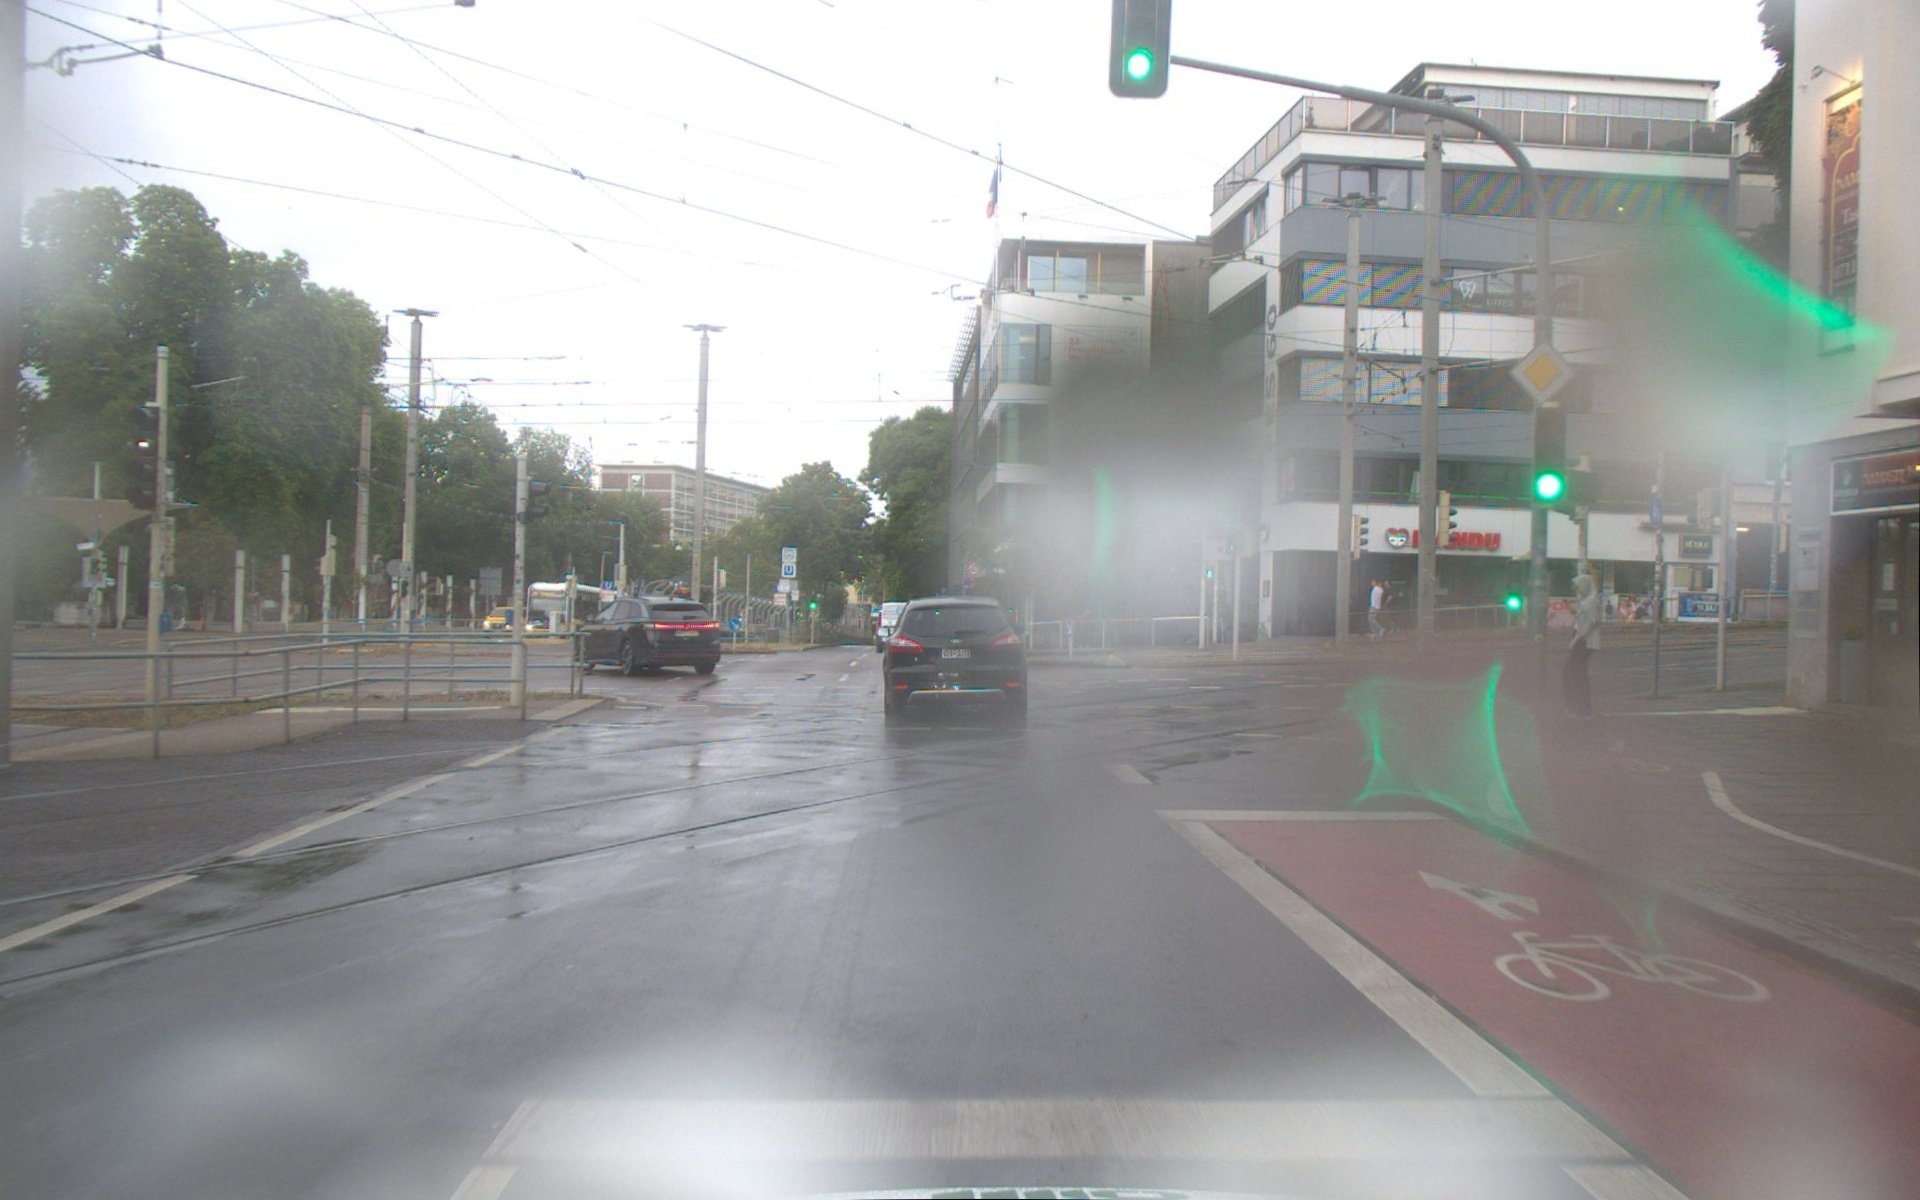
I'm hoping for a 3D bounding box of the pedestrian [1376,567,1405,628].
[{"bbox_3d":[13.908,-0.073,53.412,0.705,1.947,0.695,0,0,36],"label":"pedestrian"}]

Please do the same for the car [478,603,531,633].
[{"bbox_3d":[-26.799,1.027,97.471,1.953,1.674,4.535,0,0,-1],"label":"car"}]

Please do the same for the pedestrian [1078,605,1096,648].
[{"bbox_3d":[4.644,0.968,60.509,0.530,1.590,0.521,0,0,18],"label":"pedestrian"}]

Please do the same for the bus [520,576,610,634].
[{"bbox_3d":[-24.198,0.276,101.953,3.015,3.358,12.517,0,0,-2],"label":"bus"}]

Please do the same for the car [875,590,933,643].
[{"bbox_3d":[-2.055,0.596,62.063,1.994,1.872,4.392,1,0,0],"label":"car"}]

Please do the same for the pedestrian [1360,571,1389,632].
[{"bbox_3d":[13.240,0.047,52.851,0.705,1.947,0.695,0,0,36],"label":"pedestrian"}]

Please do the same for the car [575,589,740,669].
[{"bbox_3d":[-6.291,0.546,33.955,2.074,1.532,4.689,0,0,-28],"label":"car"}]

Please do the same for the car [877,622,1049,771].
[{"bbox_3d":[-0.036,1.165,21.599,1.995,1.612,4.390,1,0,-2],"label":"car"}]

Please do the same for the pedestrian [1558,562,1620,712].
[{"bbox_3d":[7.502,0.426,19.717,0.518,1.742,0.703,0,0,36],"label":"pedestrian"}]
